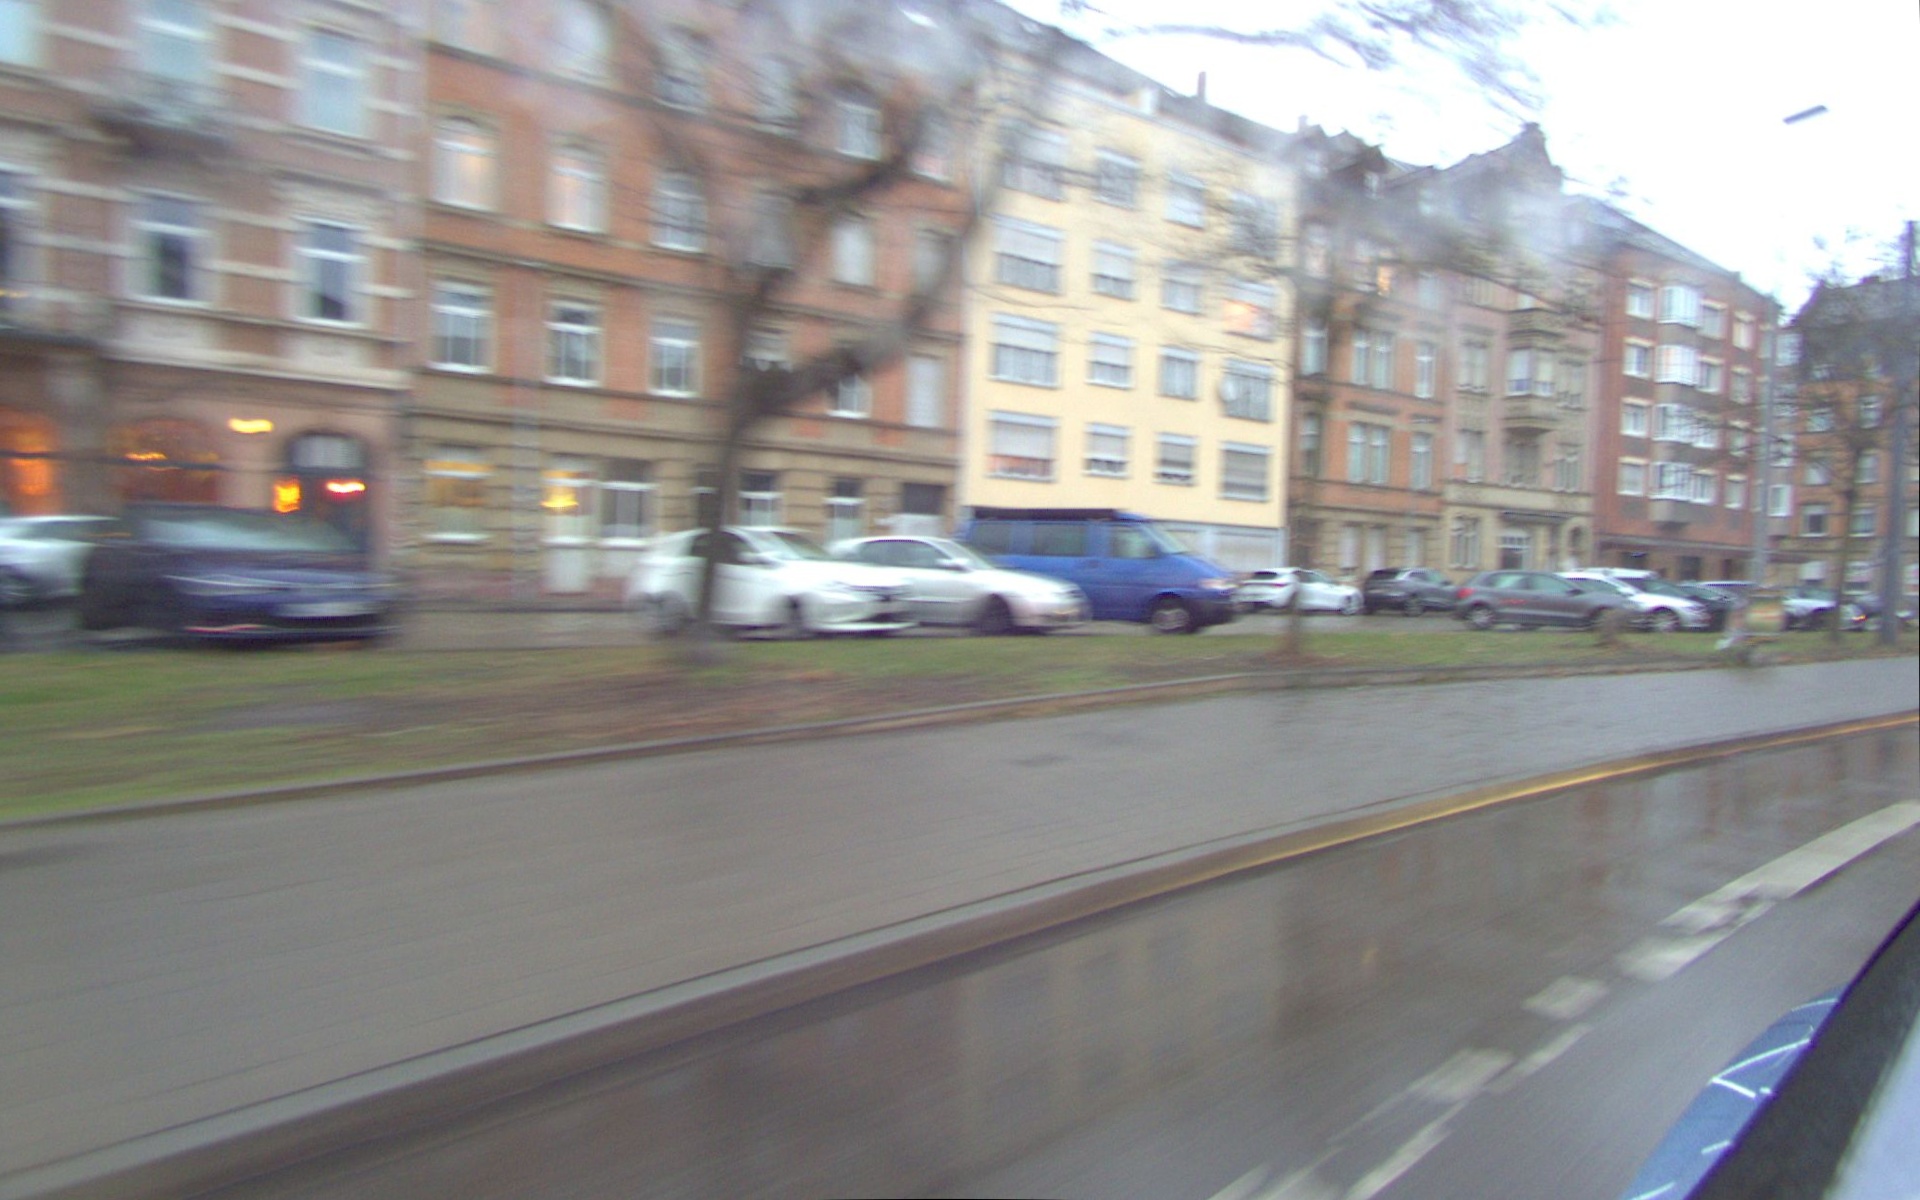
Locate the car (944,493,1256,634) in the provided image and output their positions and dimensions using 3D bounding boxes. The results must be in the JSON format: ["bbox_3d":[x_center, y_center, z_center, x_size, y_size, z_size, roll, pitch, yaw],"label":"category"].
[{"bbox_3d":[2.229,-0.567,16.221,4.669,2.007,1.785,1,1,23],"label":"car"}]

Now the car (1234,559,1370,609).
[{"bbox_3d":[10.707,-0.505,31.646,4.094,1.496,1.754,-1,1,-30],"label":"car"}]

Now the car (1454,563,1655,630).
[{"bbox_3d":[13.541,-0.084,23.230,3.843,1.423,1.676,0,1,31],"label":"car"}]

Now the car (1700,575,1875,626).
[{"bbox_3d":[23.438,-0.028,28.852,3.744,1.370,1.581,1,1,36],"label":"car"}]

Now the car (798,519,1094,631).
[{"bbox_3d":[-0.206,-0.329,14.502,3.954,1.433,1.629,0,1,23],"label":"car"}]

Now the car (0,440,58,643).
[{"bbox_3d":[-9.890,-0.618,8.686,4.623,1.611,1.760,5,3,28],"label":"car"}]

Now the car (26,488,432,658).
[{"bbox_3d":[-7.246,-0.329,9.957,4.032,1.250,1.751,6,3,30],"label":"car"}]

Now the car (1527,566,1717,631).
[{"bbox_3d":[16.071,-0.097,24.678,3.745,1.348,1.581,4,3,36],"label":"car"}]

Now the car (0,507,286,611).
[{"bbox_3d":[-13.302,-0.608,16.358,3.972,1.520,1.738,0,0,-34],"label":"car"}]

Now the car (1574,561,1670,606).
[{"bbox_3d":[26.059,-0.651,39.825,3.394,1.725,1.678,-1,1,-26],"label":"car"}]

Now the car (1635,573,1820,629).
[{"bbox_3d":[20.603,-0.011,27.375,3.735,1.294,1.585,3,2,30],"label":"car"}]

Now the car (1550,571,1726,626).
[{"bbox_3d":[17.798,-0.066,26.670,3.744,1.348,1.581,1,1,36],"label":"car"}]

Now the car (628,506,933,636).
[{"bbox_3d":[-2.372,-0.343,13.093,3.748,1.450,1.741,0,1,34],"label":"car"}]

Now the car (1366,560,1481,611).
[{"bbox_3d":[15.582,-0.481,34.018,3.793,1.562,1.477,1,2,-28],"label":"car"}]

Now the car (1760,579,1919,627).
[{"bbox_3d":[26.785,0.064,30.772,3.744,1.370,1.581,1,1,36],"label":"car"}]
